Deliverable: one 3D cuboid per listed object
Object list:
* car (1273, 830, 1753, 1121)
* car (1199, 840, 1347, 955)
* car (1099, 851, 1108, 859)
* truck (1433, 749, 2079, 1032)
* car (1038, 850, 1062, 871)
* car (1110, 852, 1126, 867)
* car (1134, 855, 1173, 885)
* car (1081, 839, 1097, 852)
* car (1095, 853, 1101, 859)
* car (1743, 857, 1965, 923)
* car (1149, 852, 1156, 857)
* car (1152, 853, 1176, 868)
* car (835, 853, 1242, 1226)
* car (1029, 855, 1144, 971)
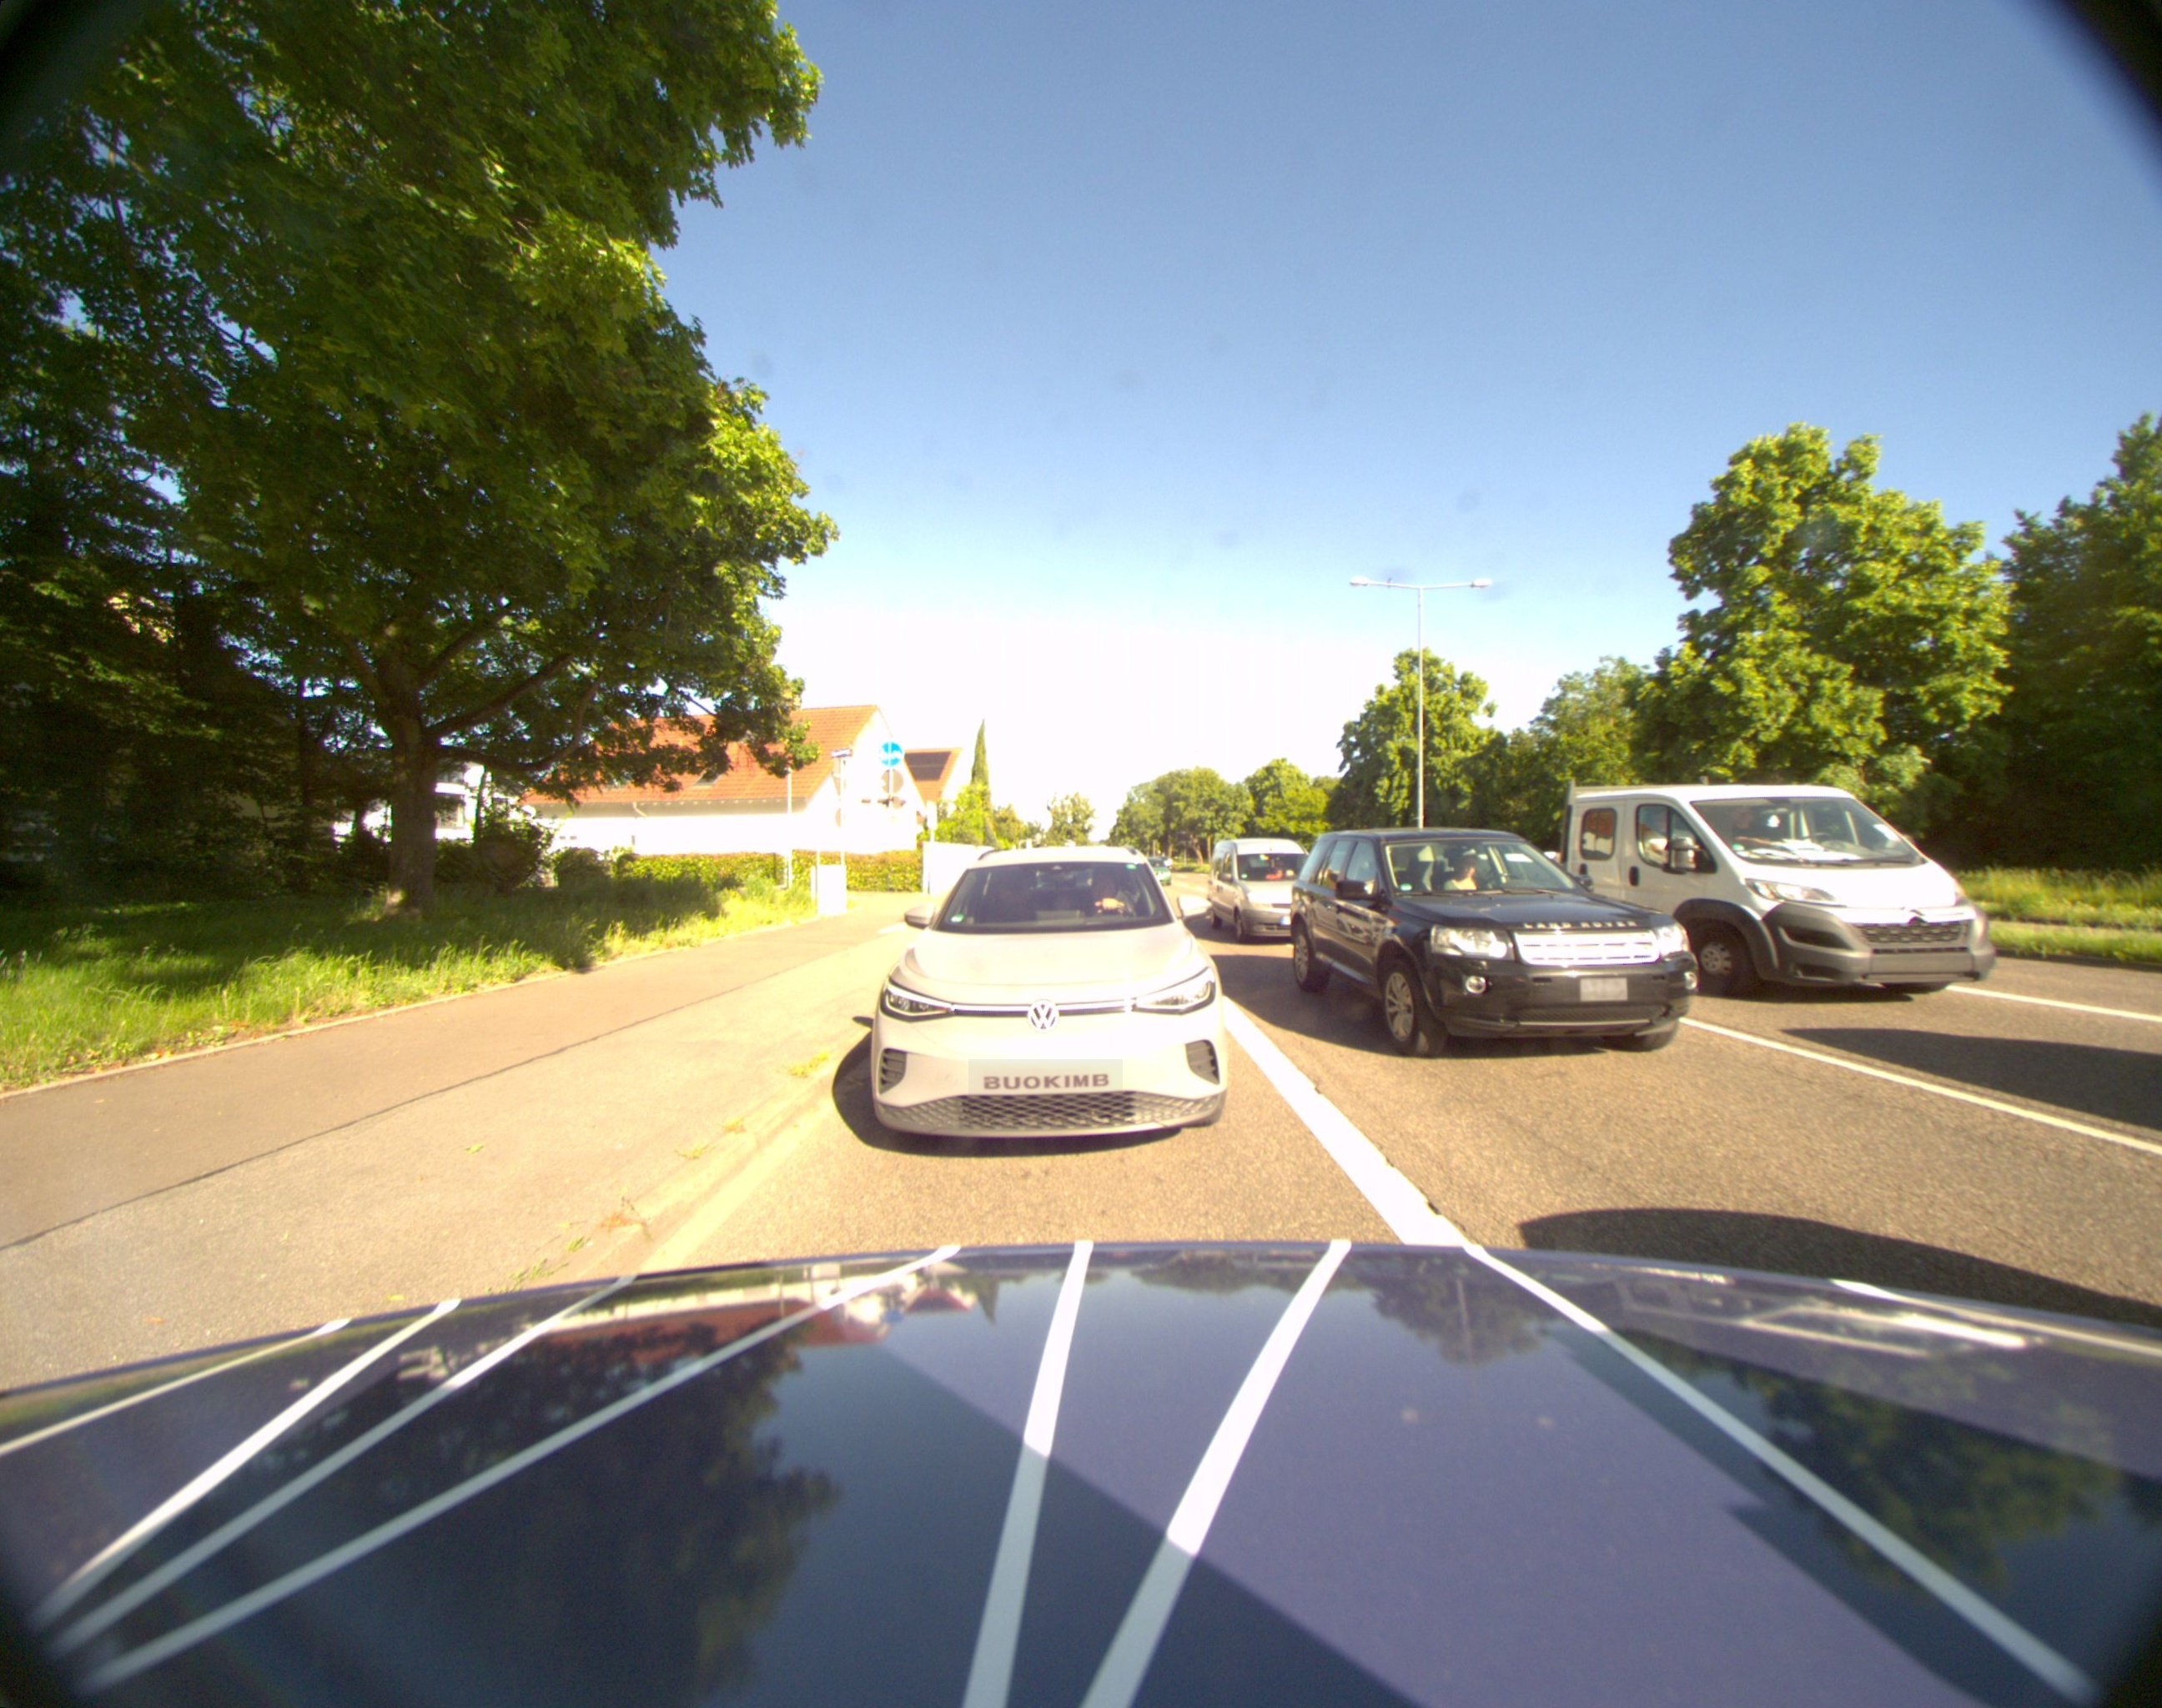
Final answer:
[{"bbox_3d":[3.166,0.715,6.781,1.816,1.721,4.386,-2,1,1],"label":"car"},{"bbox_3d":[3.325,0.653,13.975,1.632,1.741,4.386,-2,1,1],"label":"car"},{"bbox_3d":[4.569,0.180,151.864,1.726,1.630,4.000,0,0,1],"label":"car"},{"bbox_3d":[7.213,0.270,9.747,2.185,2.307,6.842,-2,1,0],"label":"truck"},{"bbox_3d":[-2.366,0.477,58.944,1.630,1.523,3.931,-1,0,0],"label":"car"},{"bbox_3d":[4.181,0.584,86.299,1.726,1.630,4.000,0,0,1],"label":"car"},{"bbox_3d":[3.698,0.778,39.259,1.630,1.466,3.931,-1,0,0],"label":"car"},{"bbox_3d":[0.906,-0.935,84.868,1.726,1.392,4.000,0,0,1],"label":"car"},{"bbox_3d":[4.395,0.527,196.371,1.726,1.630,4.000,0,0,1],"label":"car"},{"bbox_3d":[19.682,0.843,19.634,1.690,1.500,4.003,0,0,1],"label":"car"},{"bbox_3d":[21.730,0.145,230.345,1.878,1.674,4.000,0,0,1],"label":"car"},{"bbox_3d":[7.974,0.633,73.549,1.727,1.436,3.999,0,0,-3],"label":"car"},{"bbox_3d":[-0.169,0.848,5.585,1.858,1.679,4.206,0,1,1],"label":"car"},{"bbox_3d":[0.109,0.865,13.029,1.632,1.586,4.024,-2,1,1],"label":"car"}]
